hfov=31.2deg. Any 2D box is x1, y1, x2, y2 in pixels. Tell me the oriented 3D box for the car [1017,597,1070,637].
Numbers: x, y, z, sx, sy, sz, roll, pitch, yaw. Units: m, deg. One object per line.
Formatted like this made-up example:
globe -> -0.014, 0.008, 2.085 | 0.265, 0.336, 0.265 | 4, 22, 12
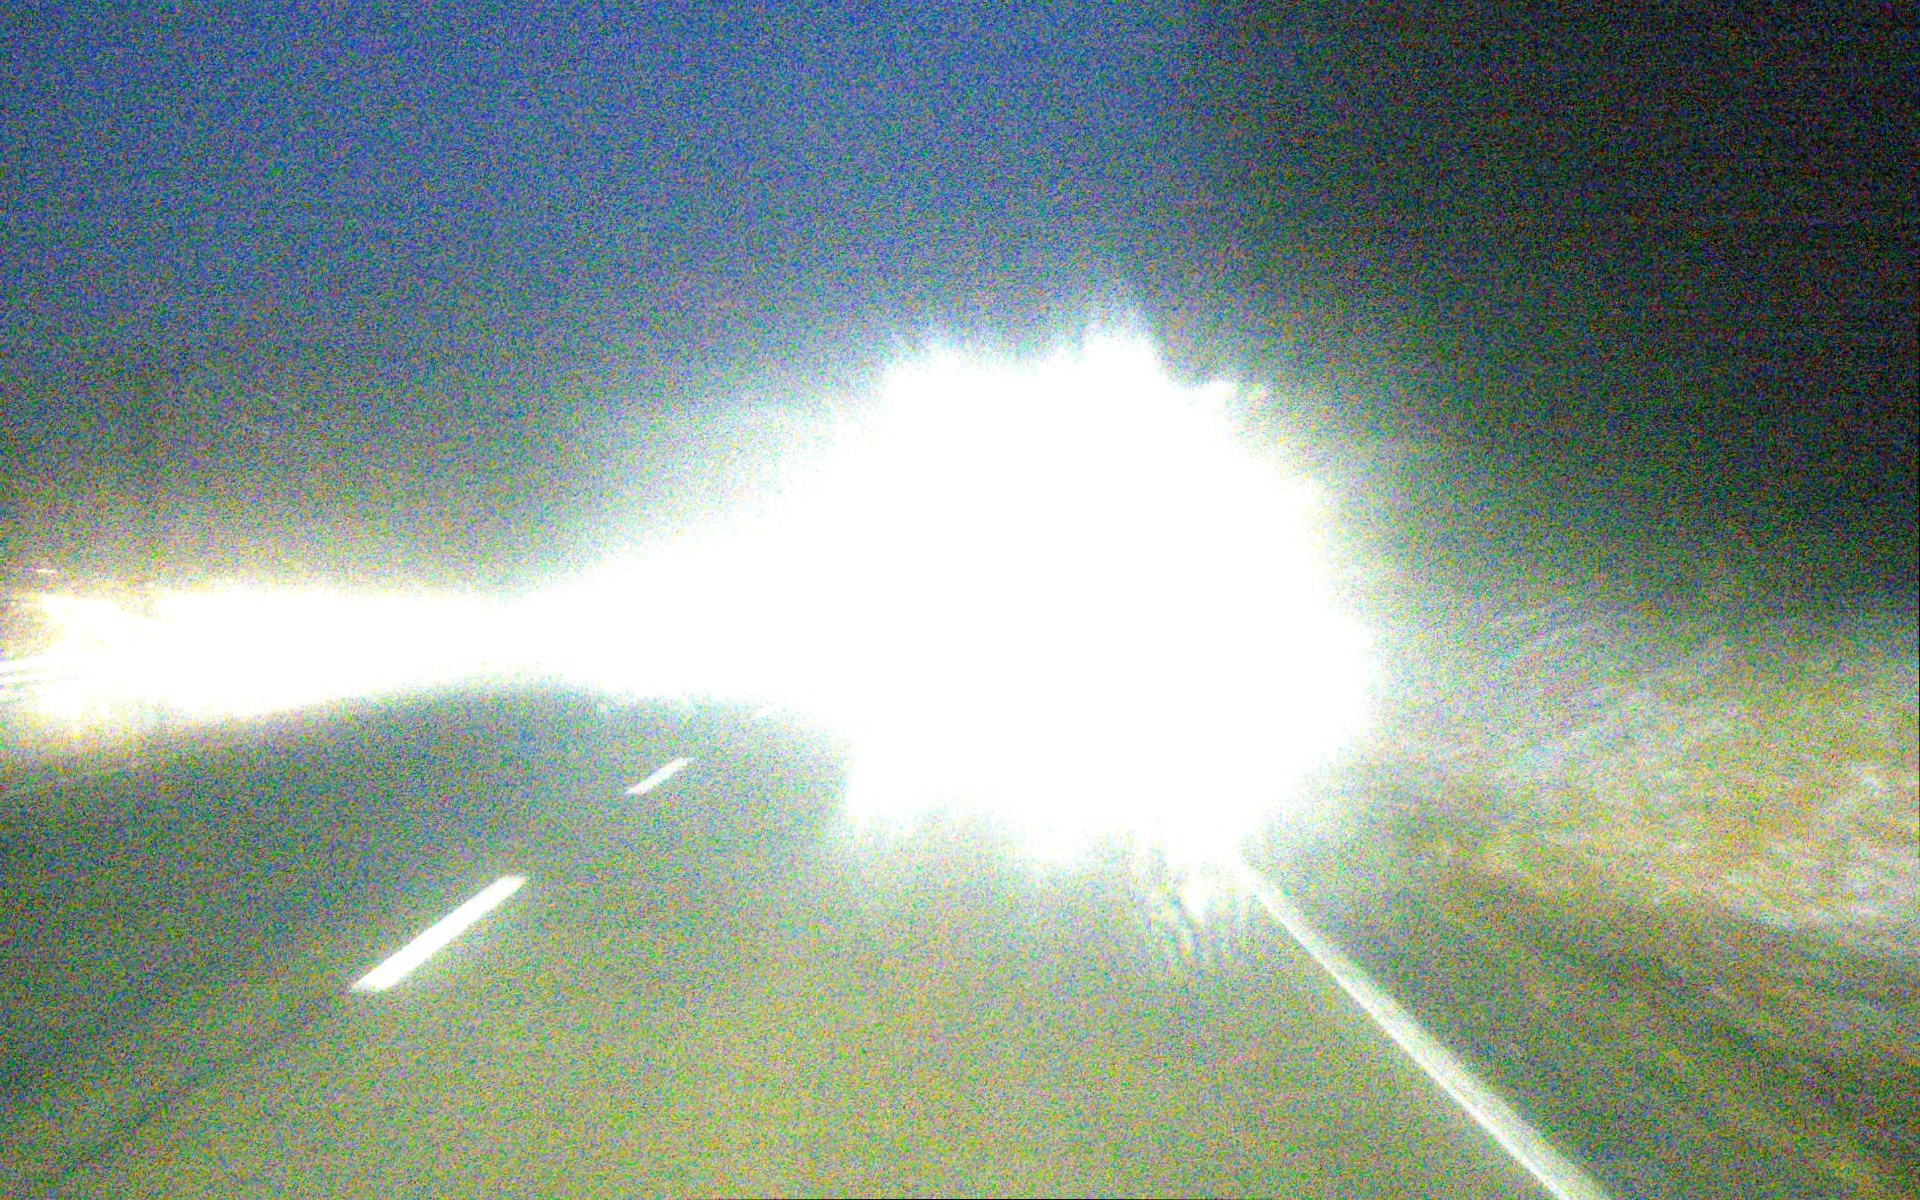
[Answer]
car -> 3.039, 0.597, 124.346 | 1.740, 1.397, 3.860 | 1, 0, 3
